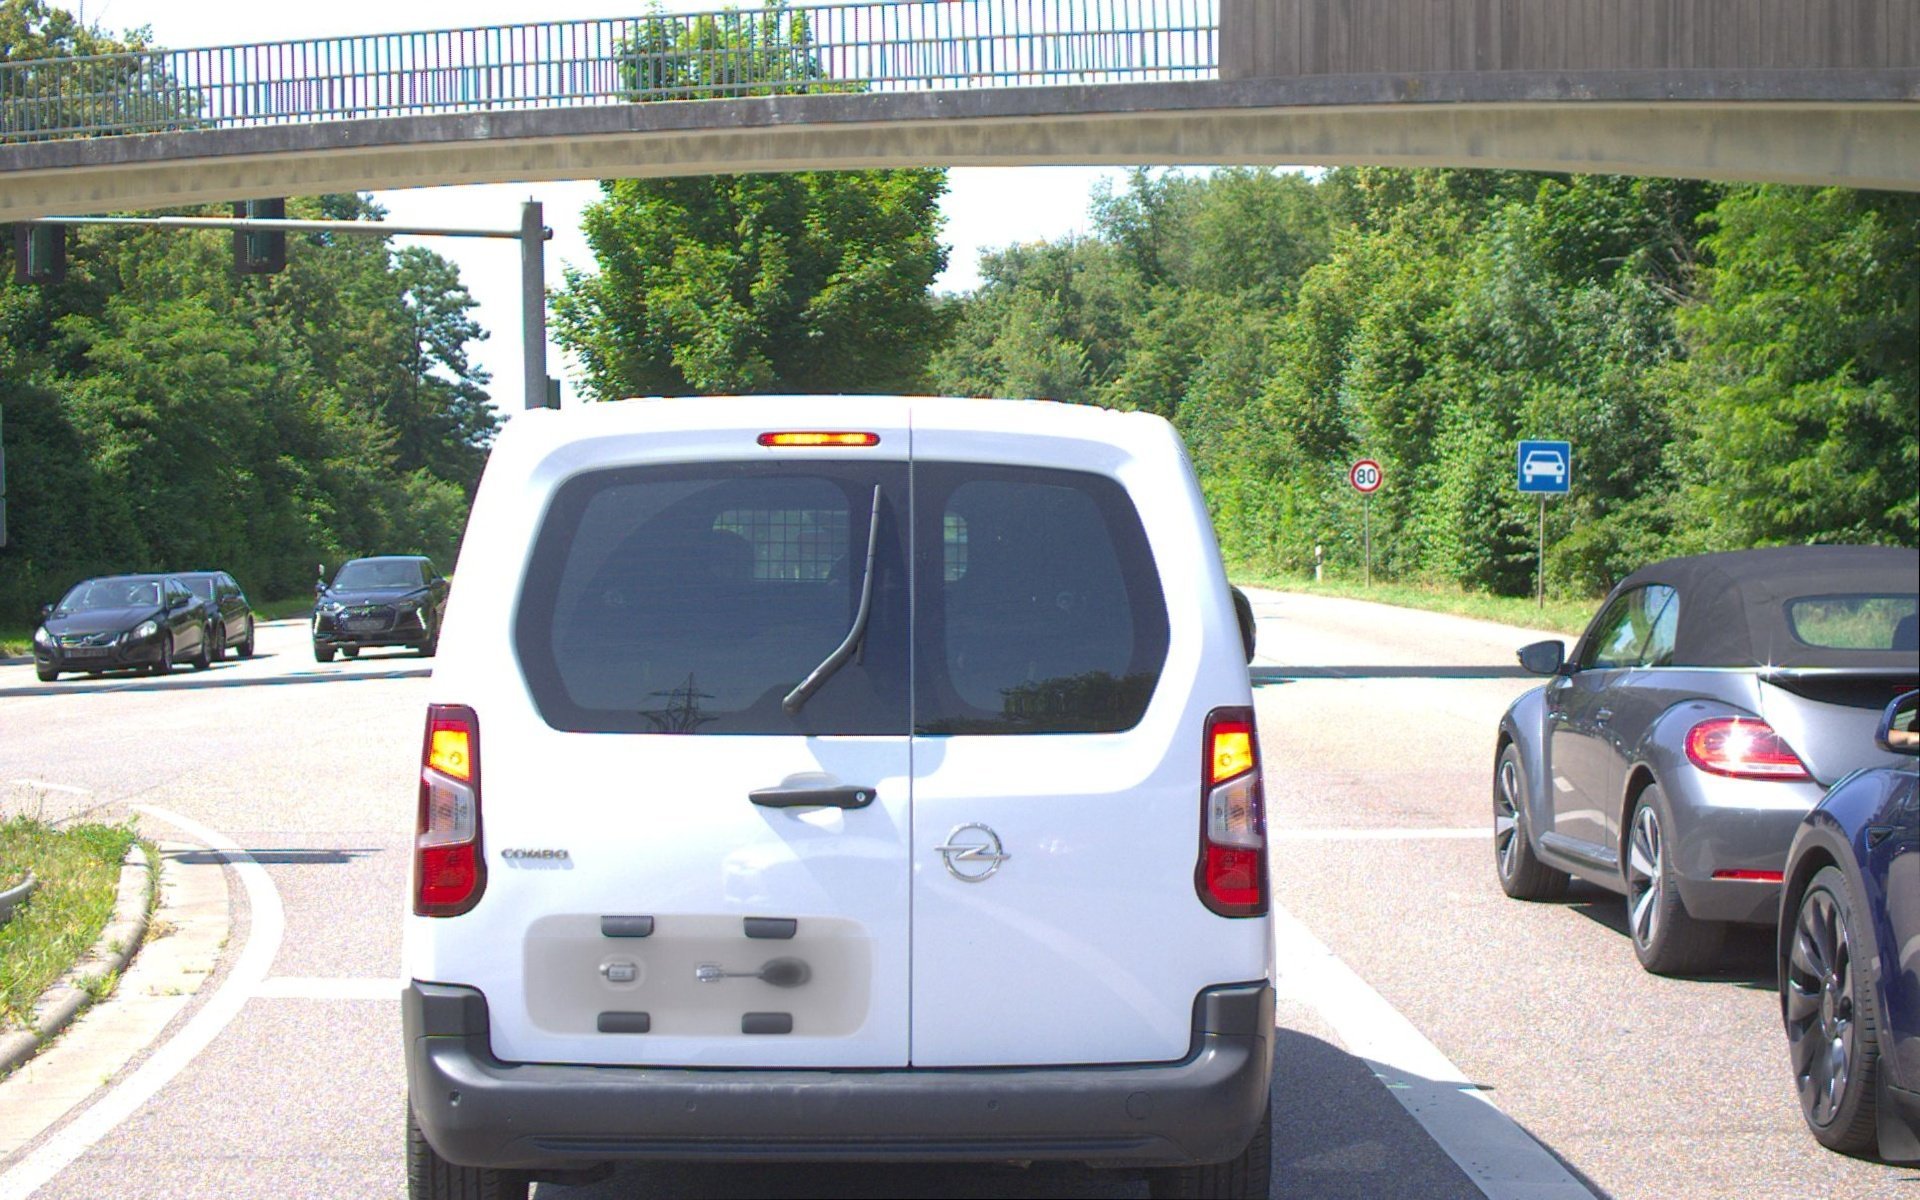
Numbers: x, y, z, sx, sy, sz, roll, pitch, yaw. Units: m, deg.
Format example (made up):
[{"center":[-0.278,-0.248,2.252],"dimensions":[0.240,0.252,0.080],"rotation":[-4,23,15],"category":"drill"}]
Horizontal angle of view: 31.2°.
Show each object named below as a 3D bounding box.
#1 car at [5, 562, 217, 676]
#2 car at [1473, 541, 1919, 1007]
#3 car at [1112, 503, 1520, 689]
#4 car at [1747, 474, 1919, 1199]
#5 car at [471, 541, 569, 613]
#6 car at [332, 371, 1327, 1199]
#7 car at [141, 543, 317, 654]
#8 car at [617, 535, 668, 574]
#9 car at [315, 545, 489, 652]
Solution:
[{"center":[-12.038,0.237,49.023],"dimensions":[2.008,1.455,4.055],"rotation":[-2,1,-1],"category":"car"},{"center":[3.214,0.530,12.981],"dimensions":[1.900,1.472,3.939],"rotation":[1,1,-1],"category":"car"},{"center":[3.839,-0.084,36.187],"dimensions":[2.046,1.693,5.077],"rotation":[-2,1,34],"category":"car"},{"center":[3.058,0.570,6.778],"dimensions":[1.900,1.639,4.520],"rotation":[1,1,-1],"category":"car"},{"center":[-13.047,-0.711,102.251],"dimensions":[2.208,1.986,5.489],"rotation":[-2,1,-1],"category":"car"},{"center":[-0.299,0.432,8.439],"dimensions":[1.849,1.819,3.982],"rotation":[1,2,-2],"category":"car"},{"center":[-11.771,-0.054,55.589],"dimensions":[1.993,1.659,4.000],"rotation":[-1,1,-1],"category":"car"},{"center":[-16.717,-2.405,181.086],"dimensions":[2.208,1.986,4.734],"rotation":[-2,1,-1],"category":"car"},{"center":[-8.353,-0.049,51.774],"dimensions":[1.993,1.518,4.028],"rotation":[1,1,-1],"category":"car"}]
